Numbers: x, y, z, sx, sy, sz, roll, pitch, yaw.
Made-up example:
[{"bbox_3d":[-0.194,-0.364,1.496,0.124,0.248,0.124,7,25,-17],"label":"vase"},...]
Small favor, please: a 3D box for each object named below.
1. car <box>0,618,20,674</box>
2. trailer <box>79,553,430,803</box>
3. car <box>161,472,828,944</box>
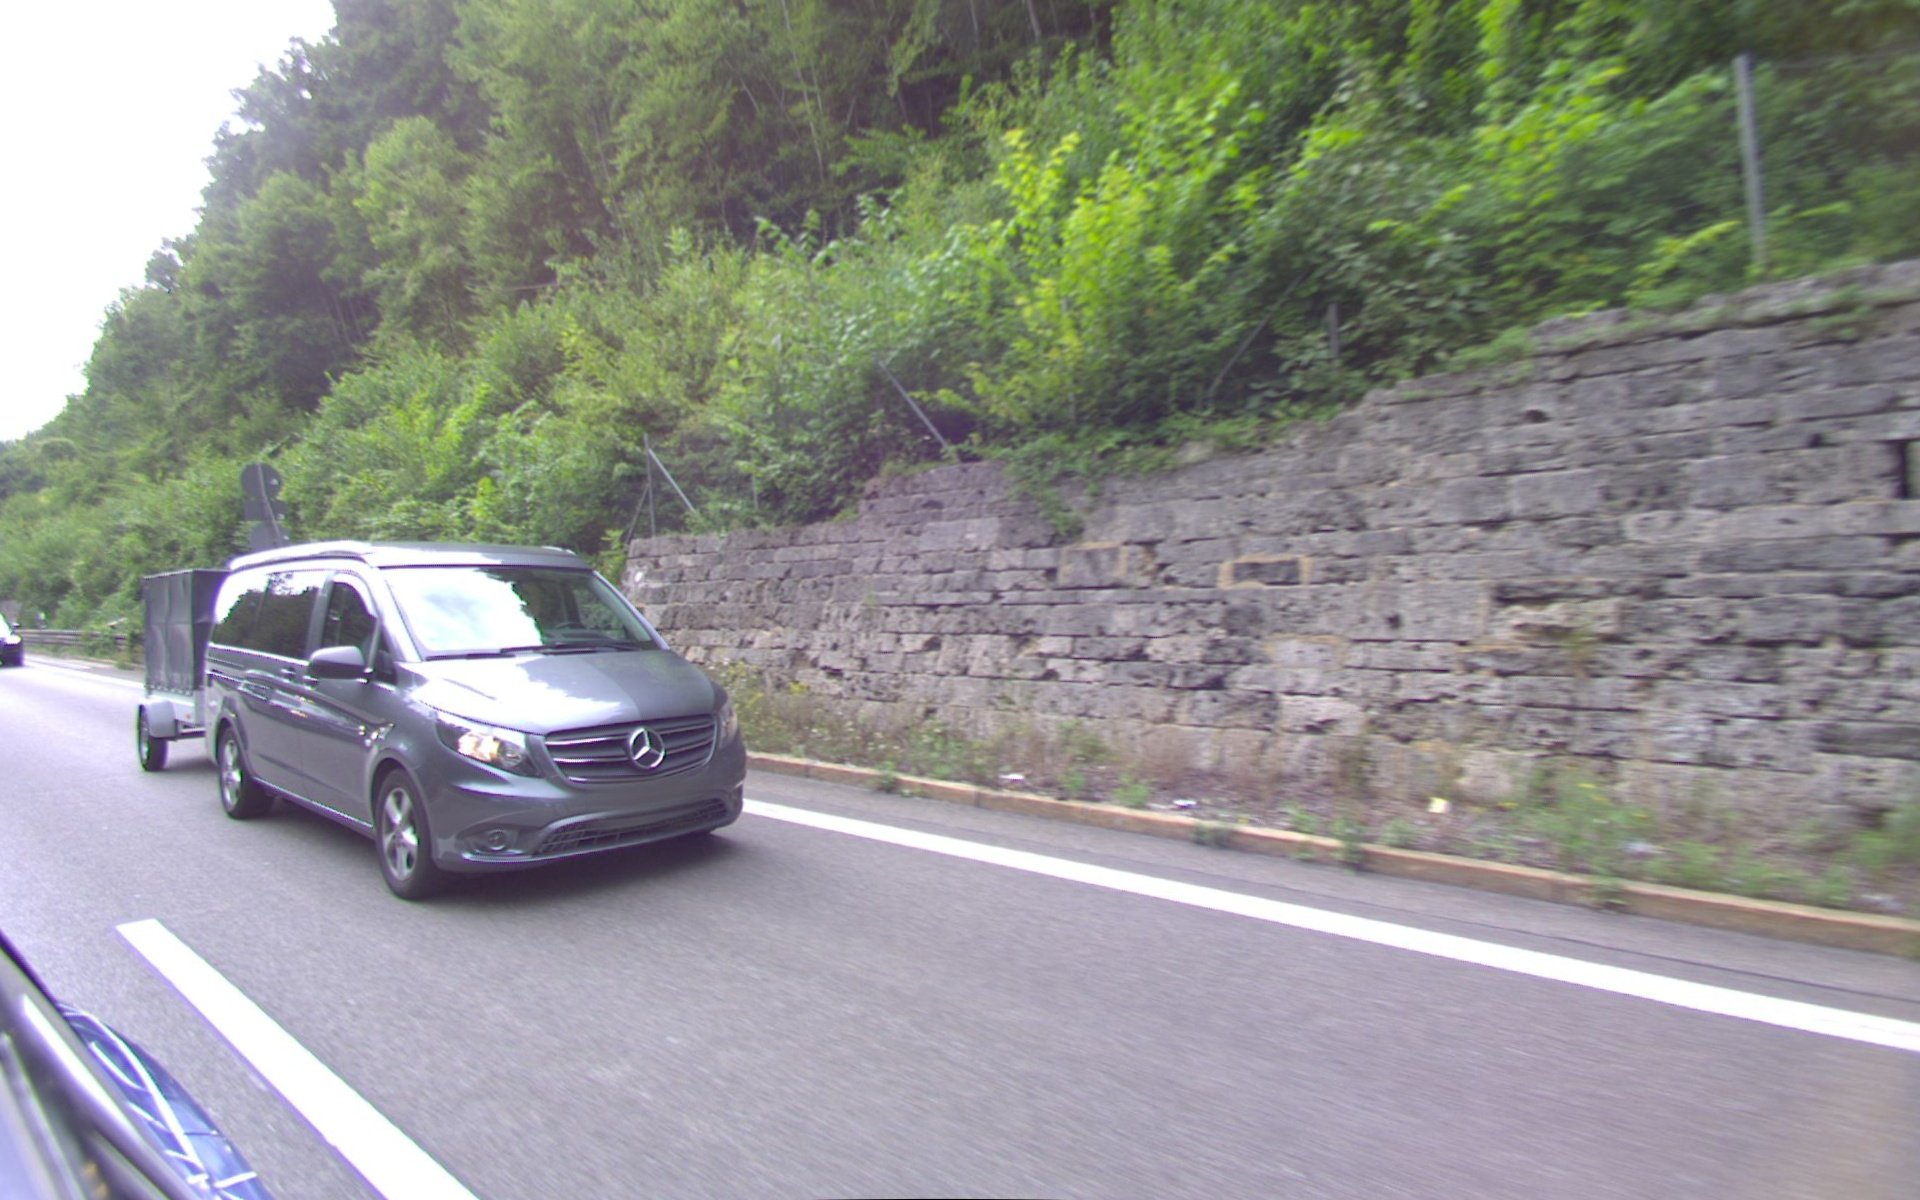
[{"bbox_3d":[-30.812,1.410,31.333,5.583,1.605,1.951,0,1,41],"label":"car"},{"bbox_3d":[-6.864,0.669,9.771,3.427,1.954,1.951,-2,-2,40],"label":"trailer"},{"bbox_3d":[-3.511,0.550,6.918,5.535,2.029,1.973,-2,-2,40],"label":"car"}]
